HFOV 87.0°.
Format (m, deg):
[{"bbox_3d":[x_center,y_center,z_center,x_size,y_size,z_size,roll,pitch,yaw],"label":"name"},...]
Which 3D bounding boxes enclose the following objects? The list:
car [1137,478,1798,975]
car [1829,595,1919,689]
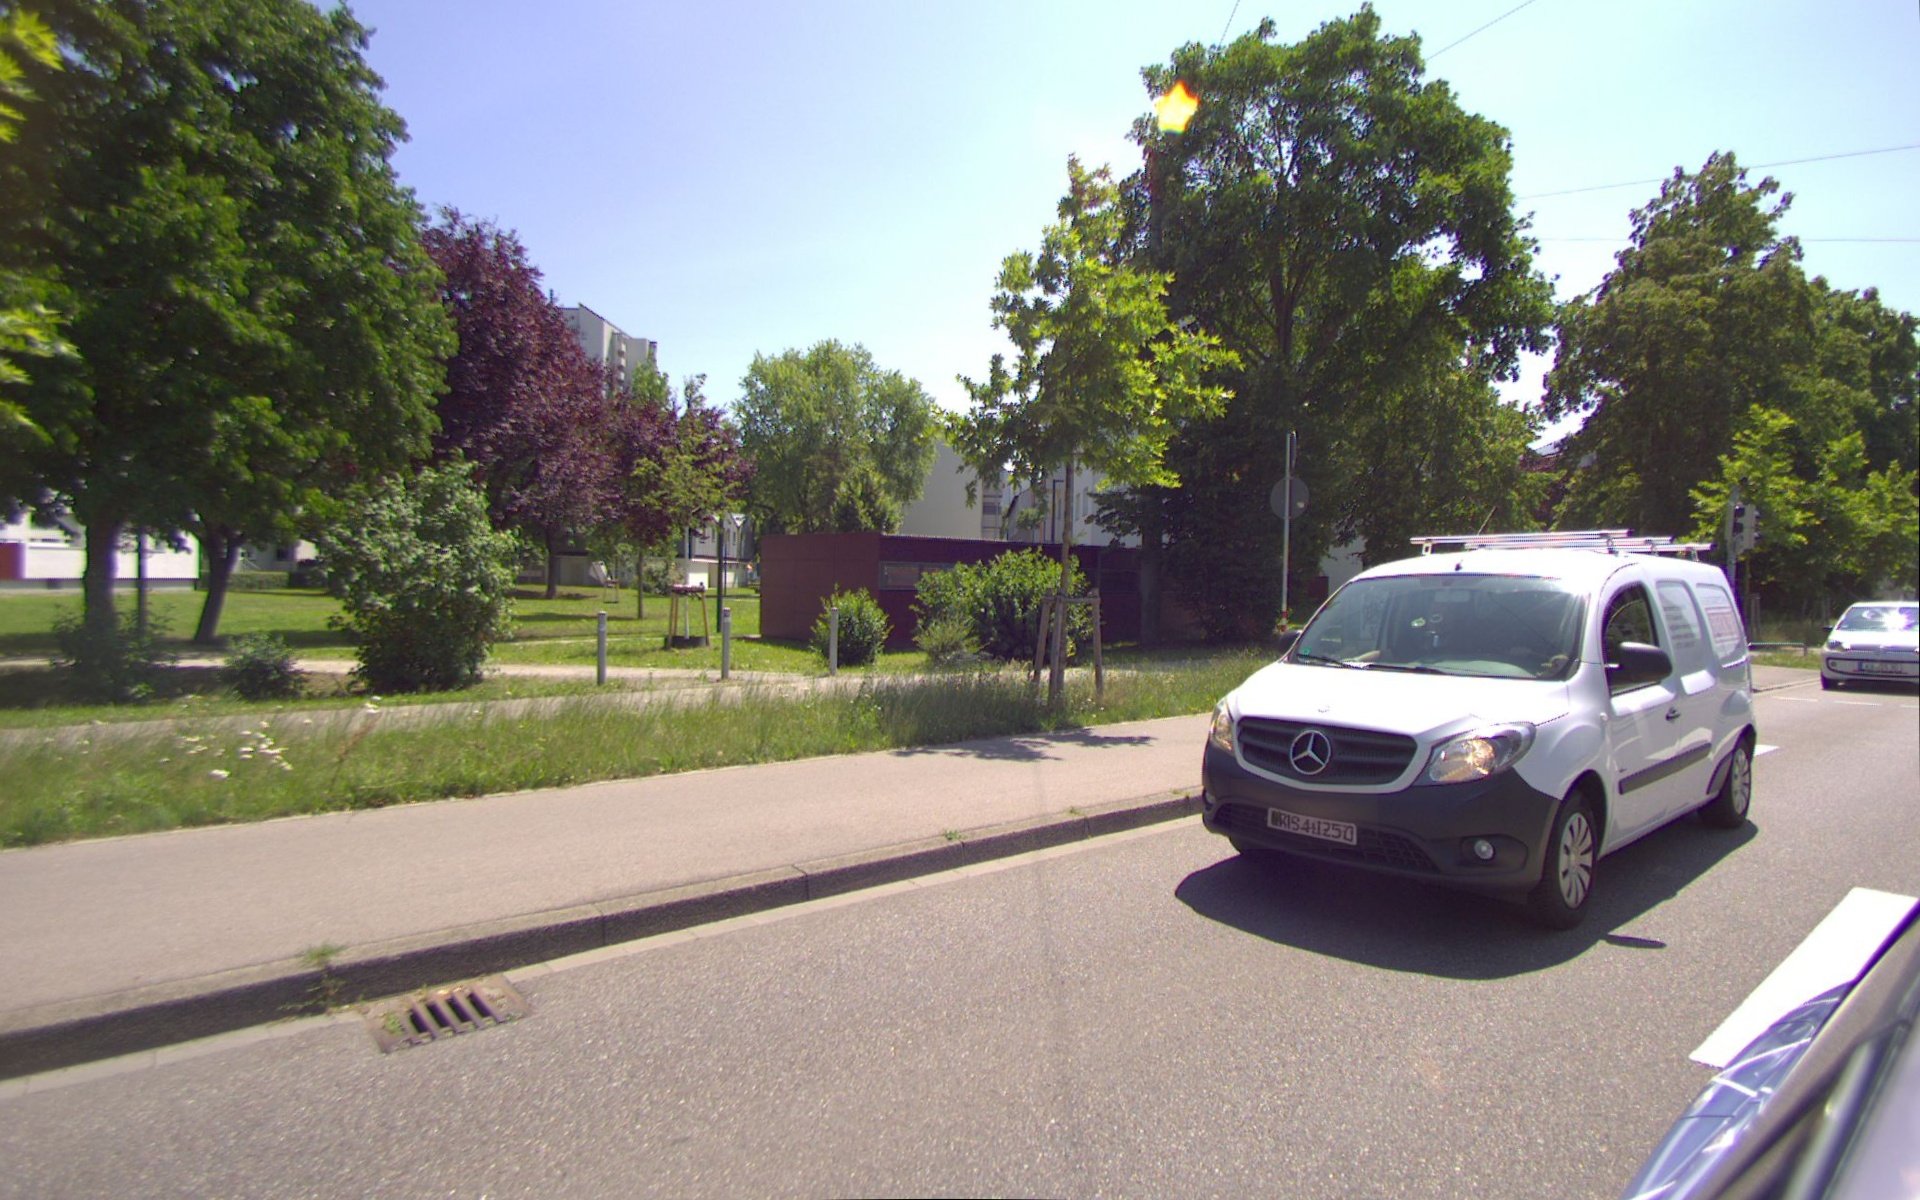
[{"bbox_3d":[3.386,0.472,6.146,4.992,1.879,1.808,0,0,-41],"label":"car"},{"bbox_3d":[16.162,0.659,17.187,3.436,1.459,1.625,0,0,-40],"label":"car"}]
